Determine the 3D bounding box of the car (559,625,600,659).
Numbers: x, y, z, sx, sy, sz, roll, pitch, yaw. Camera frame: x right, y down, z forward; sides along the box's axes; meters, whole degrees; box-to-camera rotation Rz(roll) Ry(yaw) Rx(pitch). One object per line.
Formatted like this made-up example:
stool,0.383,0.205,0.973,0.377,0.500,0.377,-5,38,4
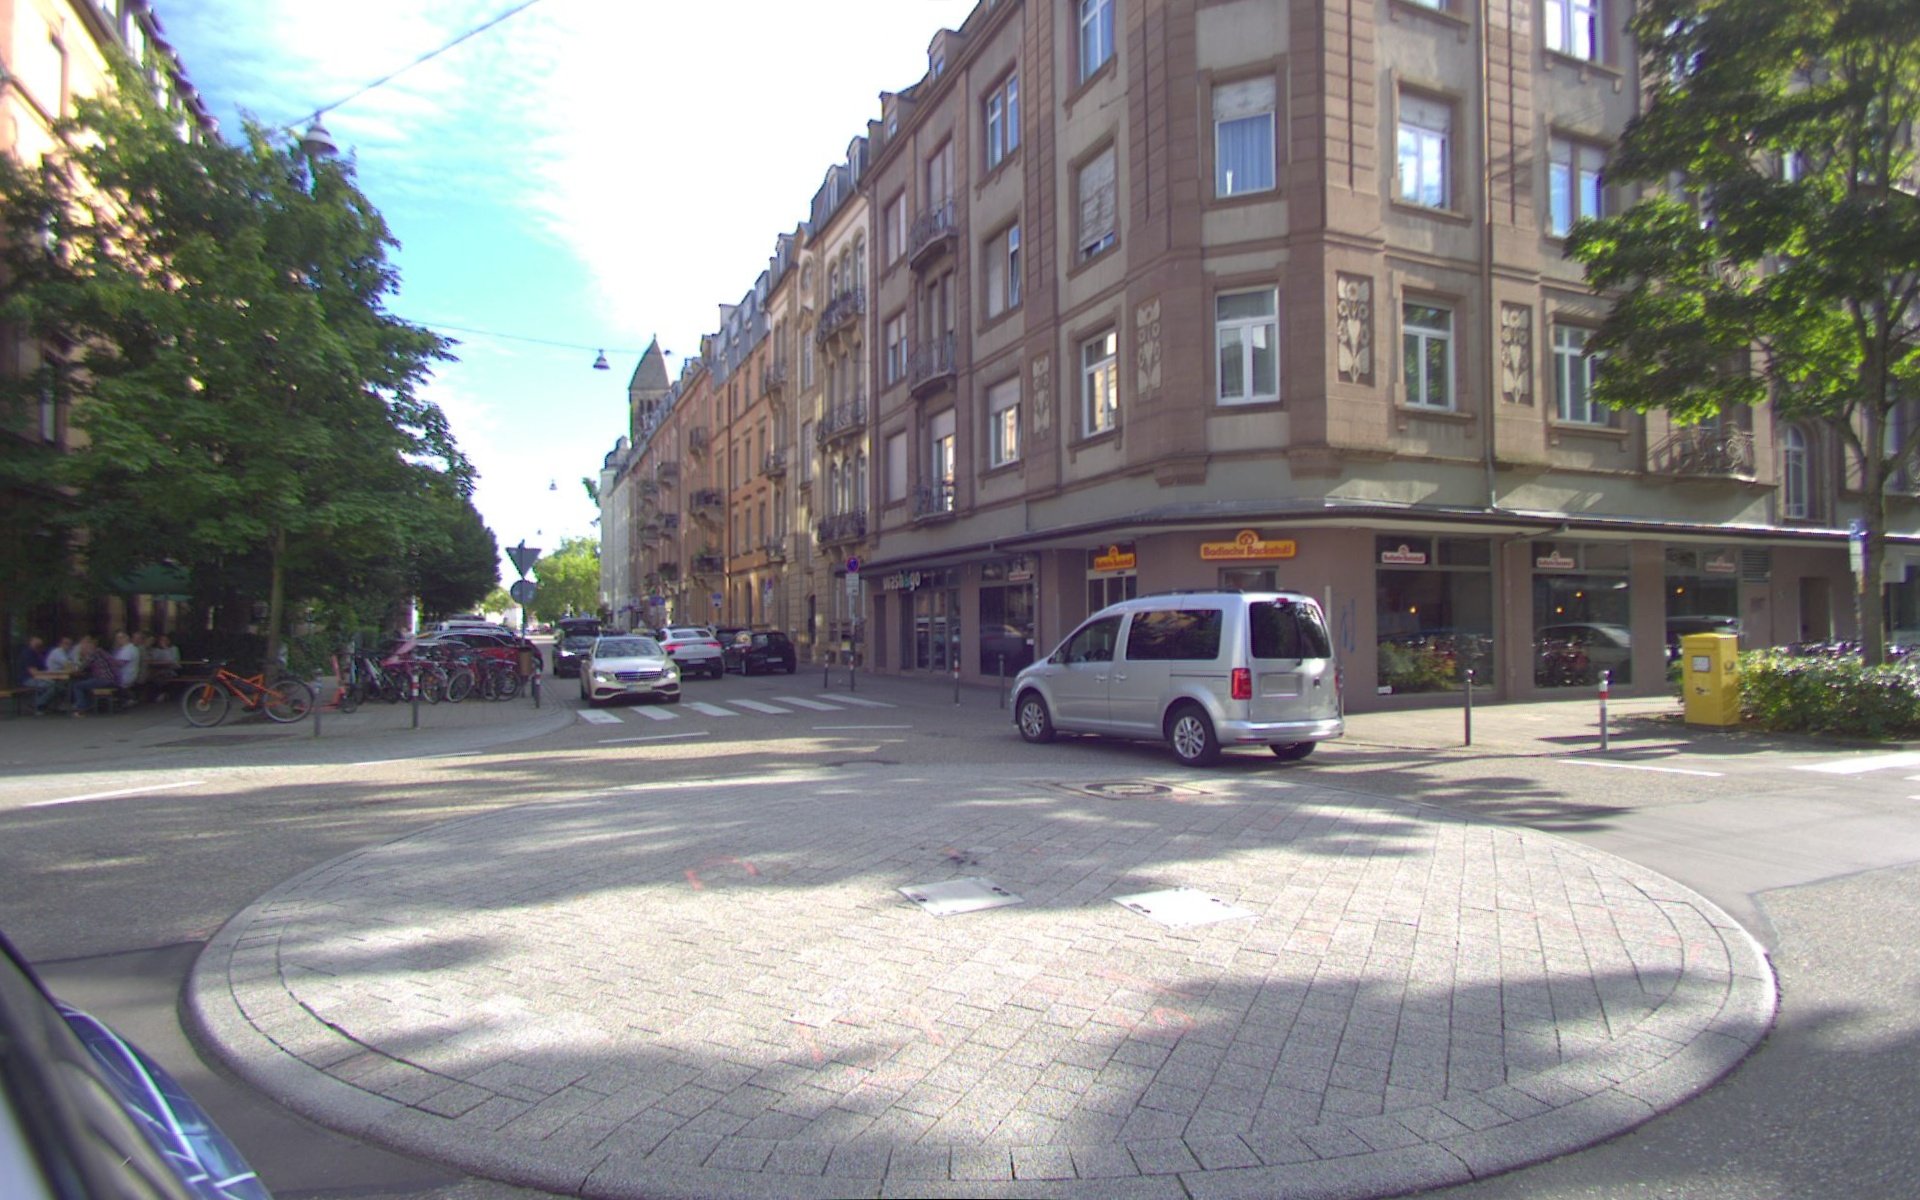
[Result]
car,-23.214,2.546,61.714,1.911,1.894,4.852,-1,-2,-25

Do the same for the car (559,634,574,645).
car,-49.330,4.940,126.705,1.598,1.389,3.773,0,-2,-24

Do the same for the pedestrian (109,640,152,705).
pedestrian,-16.222,1.401,19.786,0.621,1.241,0.541,-1,-2,42

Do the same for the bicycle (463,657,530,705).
bicycle,-10.431,1.810,22.740,1.861,0.993,0.466,-1,-3,35

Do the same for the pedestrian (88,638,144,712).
pedestrian,-15.374,1.352,18.442,0.717,1.325,0.609,1,-3,-36

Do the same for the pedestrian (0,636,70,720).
pedestrian,-15.854,1.324,17.298,0.709,1.389,0.667,-1,-1,10

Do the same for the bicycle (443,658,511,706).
bicycle,-10.689,1.798,22.377,1.861,0.993,0.466,-1,-3,35

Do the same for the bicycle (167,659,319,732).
bicycle,-11.198,1.471,15.882,1.825,1.043,0.686,1,-2,-25

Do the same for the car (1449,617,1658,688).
car,14.465,1.262,24.883,1.737,1.563,4.010,-1,-2,-34

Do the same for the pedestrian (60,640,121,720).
pedestrian,-14.896,1.353,17.349,0.717,1.325,0.522,1,-3,-36

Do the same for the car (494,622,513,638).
car,-56.005,3.680,124.230,1.965,1.903,4.013,-1,-2,-22

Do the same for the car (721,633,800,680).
car,-6.613,1.809,33.190,1.695,1.379,3.842,-1,-2,-24

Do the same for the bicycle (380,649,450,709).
bicycle,-11.279,1.613,20.915,1.835,1.152,0.469,-1,-3,35

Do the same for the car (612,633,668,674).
car,-12.653,2.066,39.852,1.740,1.392,4.466,-2,-1,-22

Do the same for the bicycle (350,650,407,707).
bicycle,-11.981,1.600,20.841,1.674,1.109,0.469,-1,-3,42

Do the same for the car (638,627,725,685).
car,-8.854,1.739,31.846,1.965,1.647,4.859,0,-2,-24

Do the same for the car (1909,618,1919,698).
car,19.195,1.001,17.485,1.550,1.488,3.711,-1,-2,-21

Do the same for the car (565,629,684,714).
car,-7.592,1.499,22.597,1.911,1.609,4.852,-1,-1,-25

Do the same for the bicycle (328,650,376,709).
bicycle,-12.294,1.587,20.458,0.427,1.109,1.676,4,-4,-44

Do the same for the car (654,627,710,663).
car,-13.362,2.144,48.458,1.732,1.610,4.355,0,-2,-27

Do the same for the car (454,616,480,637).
car,-44.081,2.413,90.465,1.819,1.747,4.012,-1,-2,-30

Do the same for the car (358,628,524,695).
car,-13.560,1.616,26.569,1.513,1.628,3.537,-2,-4,42

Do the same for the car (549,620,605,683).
car,-13.639,1.779,35.958,1.763,2.079,4.013,0,-2,-21

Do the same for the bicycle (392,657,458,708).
bicycle,-11.294,1.715,21.345,1.835,0.993,0.413,-1,-3,35

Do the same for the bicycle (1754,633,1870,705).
bicycle,14.448,1.136,17.153,2.389,1.143,0.581,0,-2,-27

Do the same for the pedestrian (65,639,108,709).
pedestrian,-16.745,1.404,19.402,0.621,1.311,0.541,-1,-2,42

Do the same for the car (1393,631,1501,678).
car,18.223,2.005,37.859,3.570,1.578,1.584,-1,-2,-22

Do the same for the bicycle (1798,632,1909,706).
bicycle,14.710,1.108,16.639,2.389,1.143,0.480,0,-2,-27

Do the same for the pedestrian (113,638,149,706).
pedestrian,-16.824,1.440,20.530,0.621,1.337,0.460,-1,-2,42

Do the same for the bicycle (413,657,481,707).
bicycle,-11.101,1.763,21.877,1.861,0.993,0.466,-1,-3,35

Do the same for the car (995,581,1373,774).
car,2.347,0.835,11.811,1.804,1.805,4.343,2,-3,-31

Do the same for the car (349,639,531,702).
car,-12.399,1.668,24.287,1.512,1.391,3.539,-2,-4,40

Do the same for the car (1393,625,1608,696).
car,12.408,1.359,23.468,1.737,1.441,4.010,-1,-2,-34

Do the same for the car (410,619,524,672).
car,-24.363,2.212,50.173,1.994,2.441,4.685,-3,-2,33

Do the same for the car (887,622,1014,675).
car,-0.313,1.657,35.211,3.933,1.633,2.005,-1,-2,-33

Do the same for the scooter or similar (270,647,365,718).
scooter or similar,-11.316,1.446,17.847,1.276,1.220,0.556,0,-4,3

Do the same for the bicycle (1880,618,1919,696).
bicycle,15.168,0.857,15.688,2.389,1.143,0.480,0,-2,-27

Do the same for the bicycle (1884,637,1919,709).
bicycle,16.247,1.153,16.541,2.470,1.110,0.711,0,-3,-24

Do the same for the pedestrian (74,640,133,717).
pedestrian,-15.092,1.374,17.847,0.717,1.325,0.522,1,-3,-36

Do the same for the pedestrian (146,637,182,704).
pedestrian,-16.119,1.415,20.501,0.621,1.337,0.460,-1,-2,42

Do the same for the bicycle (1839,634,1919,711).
bicycle,14.949,1.129,16.155,2.389,1.143,0.480,0,-2,-27

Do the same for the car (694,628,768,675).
car,-8.613,1.875,37.815,1.830,1.596,4.413,-1,-1,-24
